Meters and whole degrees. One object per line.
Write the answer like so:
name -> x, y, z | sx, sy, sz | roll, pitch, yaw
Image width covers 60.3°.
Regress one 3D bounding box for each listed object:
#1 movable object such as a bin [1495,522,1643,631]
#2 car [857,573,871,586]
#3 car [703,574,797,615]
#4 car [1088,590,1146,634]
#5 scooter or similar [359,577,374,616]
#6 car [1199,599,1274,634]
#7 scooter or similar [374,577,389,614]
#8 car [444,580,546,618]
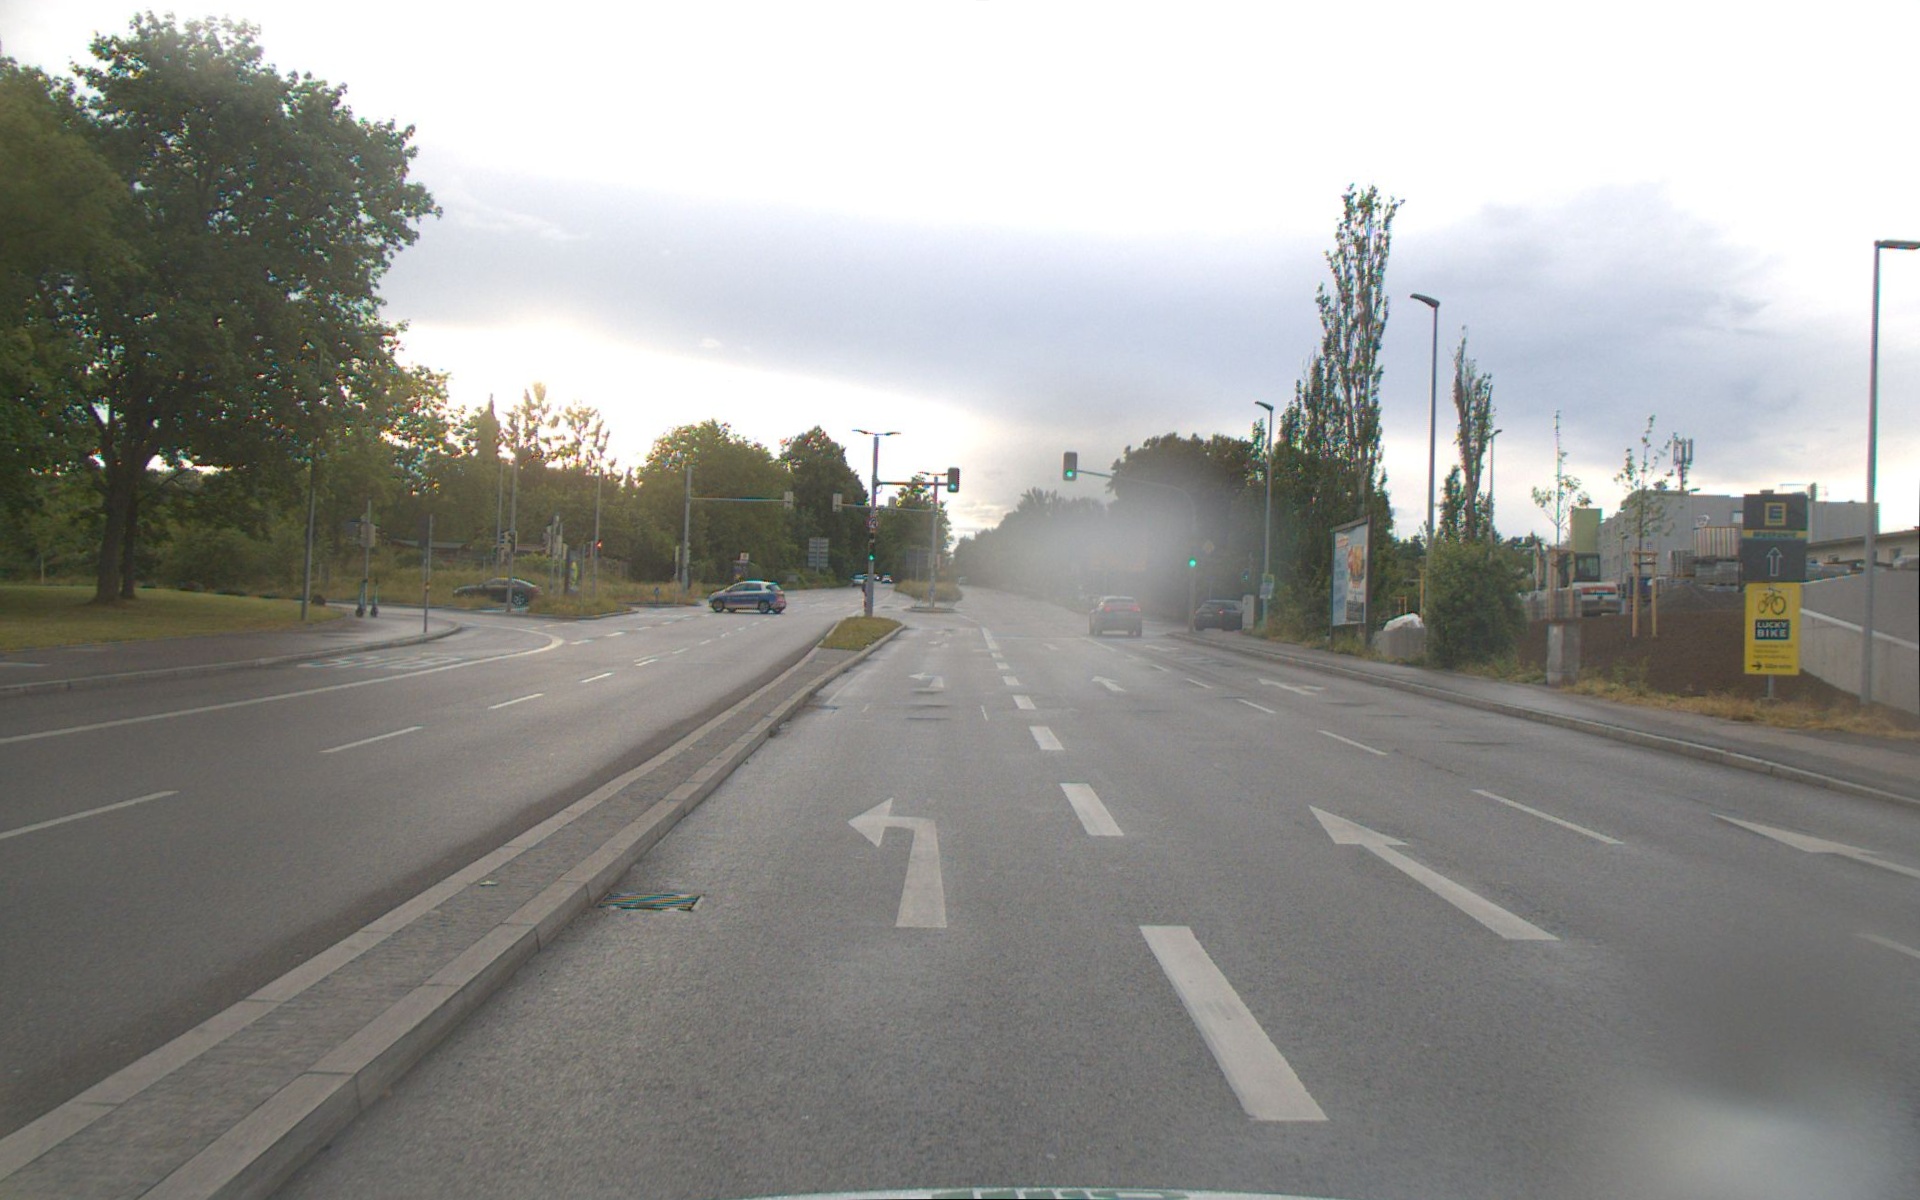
movable object such as a bin -> 20.051, -0.793, 54.770 | 2.258, 3.333, 5.415 | 2, 1, -8
car -> -13.366, -2.874, 231.068 | 1.733, 1.623, 4.488 | 2, 1, -1
car -> -10.510, -0.272, 82.911 | 4.099, 1.748, 2.083 | 3, -1, 20
car -> 5.911, 0.433, 62.597 | 1.709, 1.495, 4.165 | 2, 1, -1
scooter or similar -> -19.426, -0.128, 54.135 | 0.306, 1.239, 1.303 | 2, 1, -14
car -> 12.491, 0.750, 74.628 | 1.715, 1.495, 4.151 | 3, 1, 35
scooter or similar -> -19.532, -0.161, 55.827 | 0.306, 1.239, 1.303 | 2, 1, -14
car -> -23.708, -0.054, 84.490 | 4.559, 1.610, 2.170 | 4, -1, -6
